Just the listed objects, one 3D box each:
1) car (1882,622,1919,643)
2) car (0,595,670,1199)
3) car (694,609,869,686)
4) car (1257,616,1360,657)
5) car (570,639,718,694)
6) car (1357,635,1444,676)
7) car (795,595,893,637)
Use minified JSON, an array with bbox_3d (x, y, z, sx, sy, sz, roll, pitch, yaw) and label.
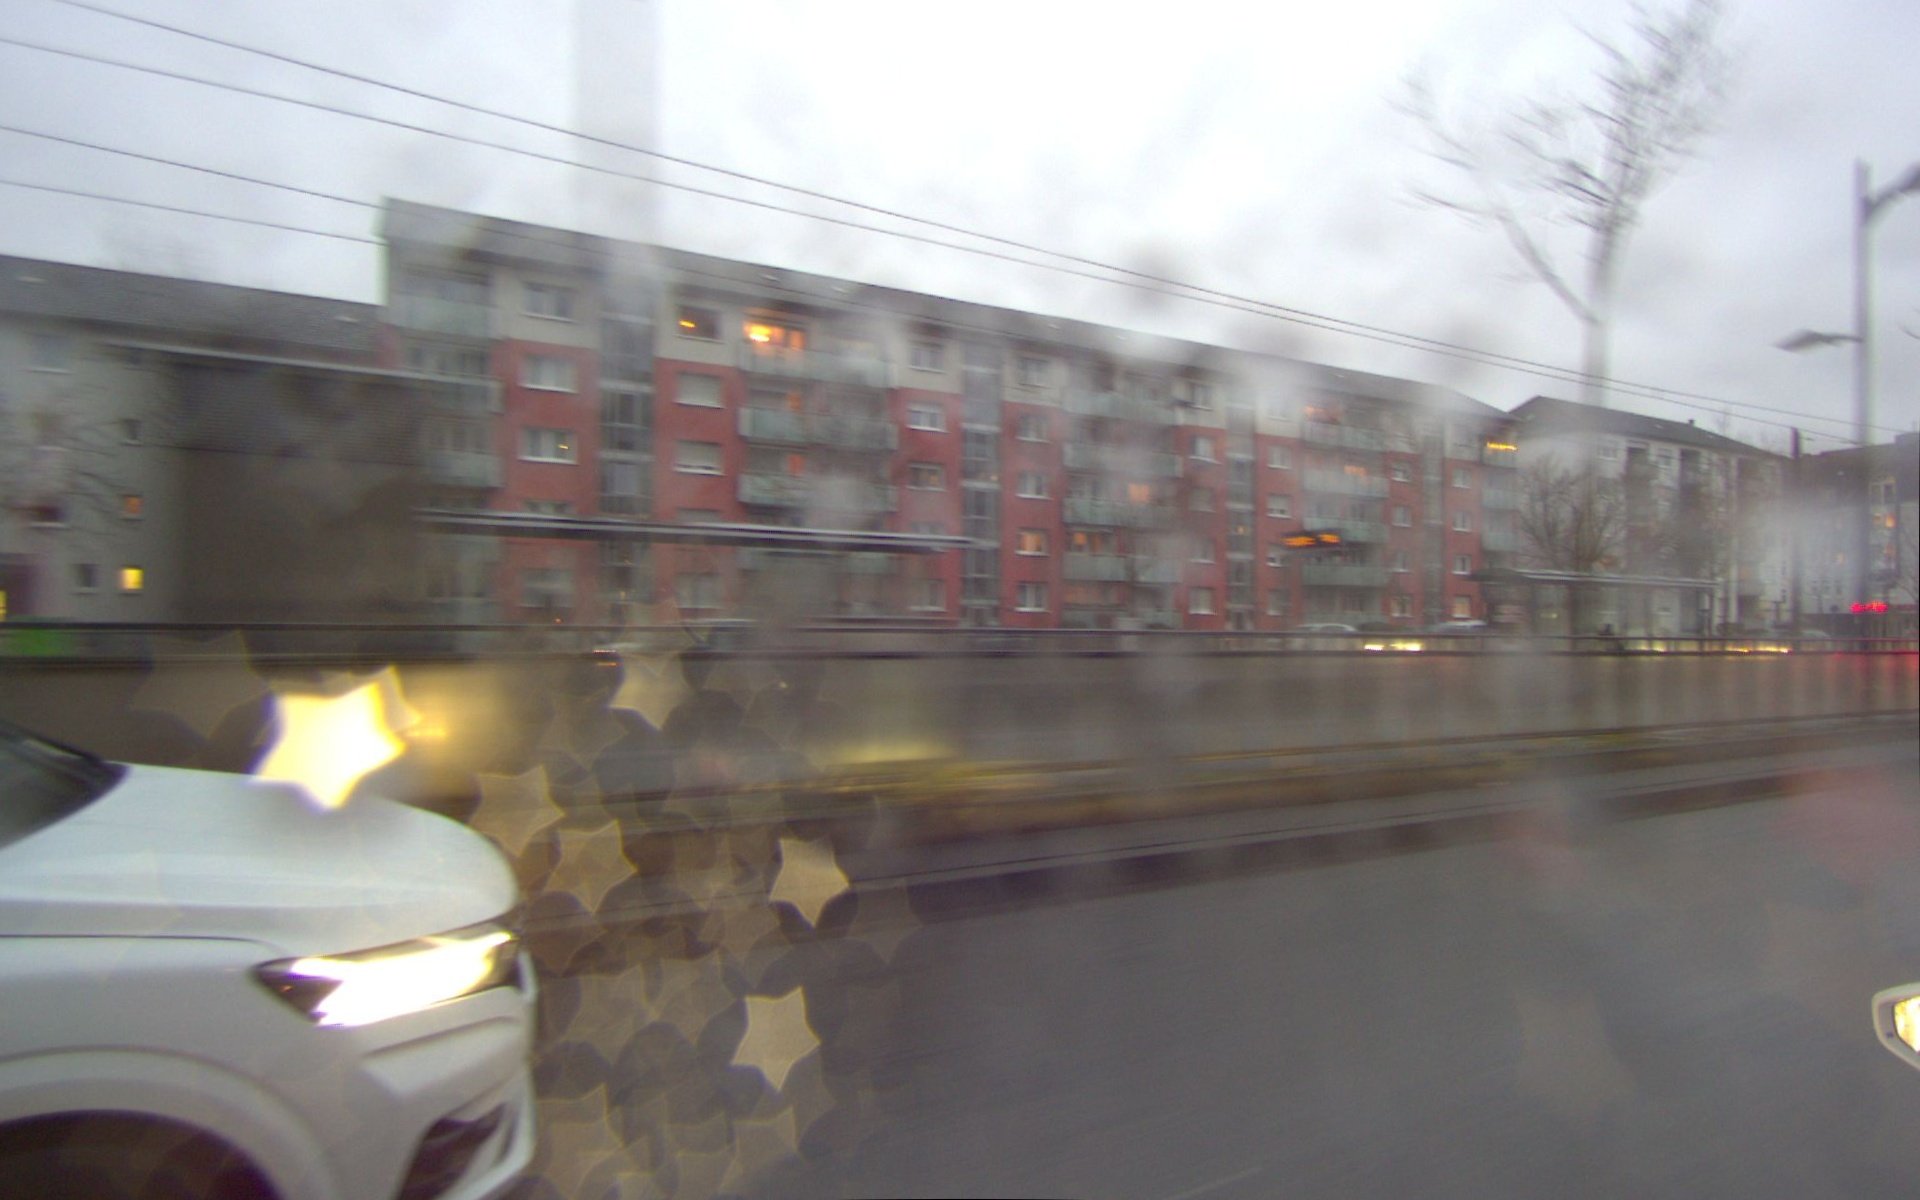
[{"bbox_3d":[67.828,2.319,70.832,1.680,1.384,3.777,2,0,-32],"label":"car"},{"bbox_3d":[-2.731,0.720,1.759,3.954,1.485,1.699,2,0,-31],"label":"car"},{"bbox_3d":[-4.124,1.095,23.334,3.704,1.661,1.516,2,-1,-29],"label":"car"},{"bbox_3d":[14.358,1.515,41.357,4.100,1.564,1.717,2,0,-29],"label":"car"},{"bbox_3d":[-5.885,1.227,18.726,2.461,0.950,1.139,2,-1,-29],"label":"car"},{"bbox_3d":[16.693,2.096,38.012,3.281,1.444,1.327,2,0,-30],"label":"car"},{"bbox_3d":[-4.574,0.622,39.535,3.456,1.516,1.705,2,0,-26],"label":"car"}]
